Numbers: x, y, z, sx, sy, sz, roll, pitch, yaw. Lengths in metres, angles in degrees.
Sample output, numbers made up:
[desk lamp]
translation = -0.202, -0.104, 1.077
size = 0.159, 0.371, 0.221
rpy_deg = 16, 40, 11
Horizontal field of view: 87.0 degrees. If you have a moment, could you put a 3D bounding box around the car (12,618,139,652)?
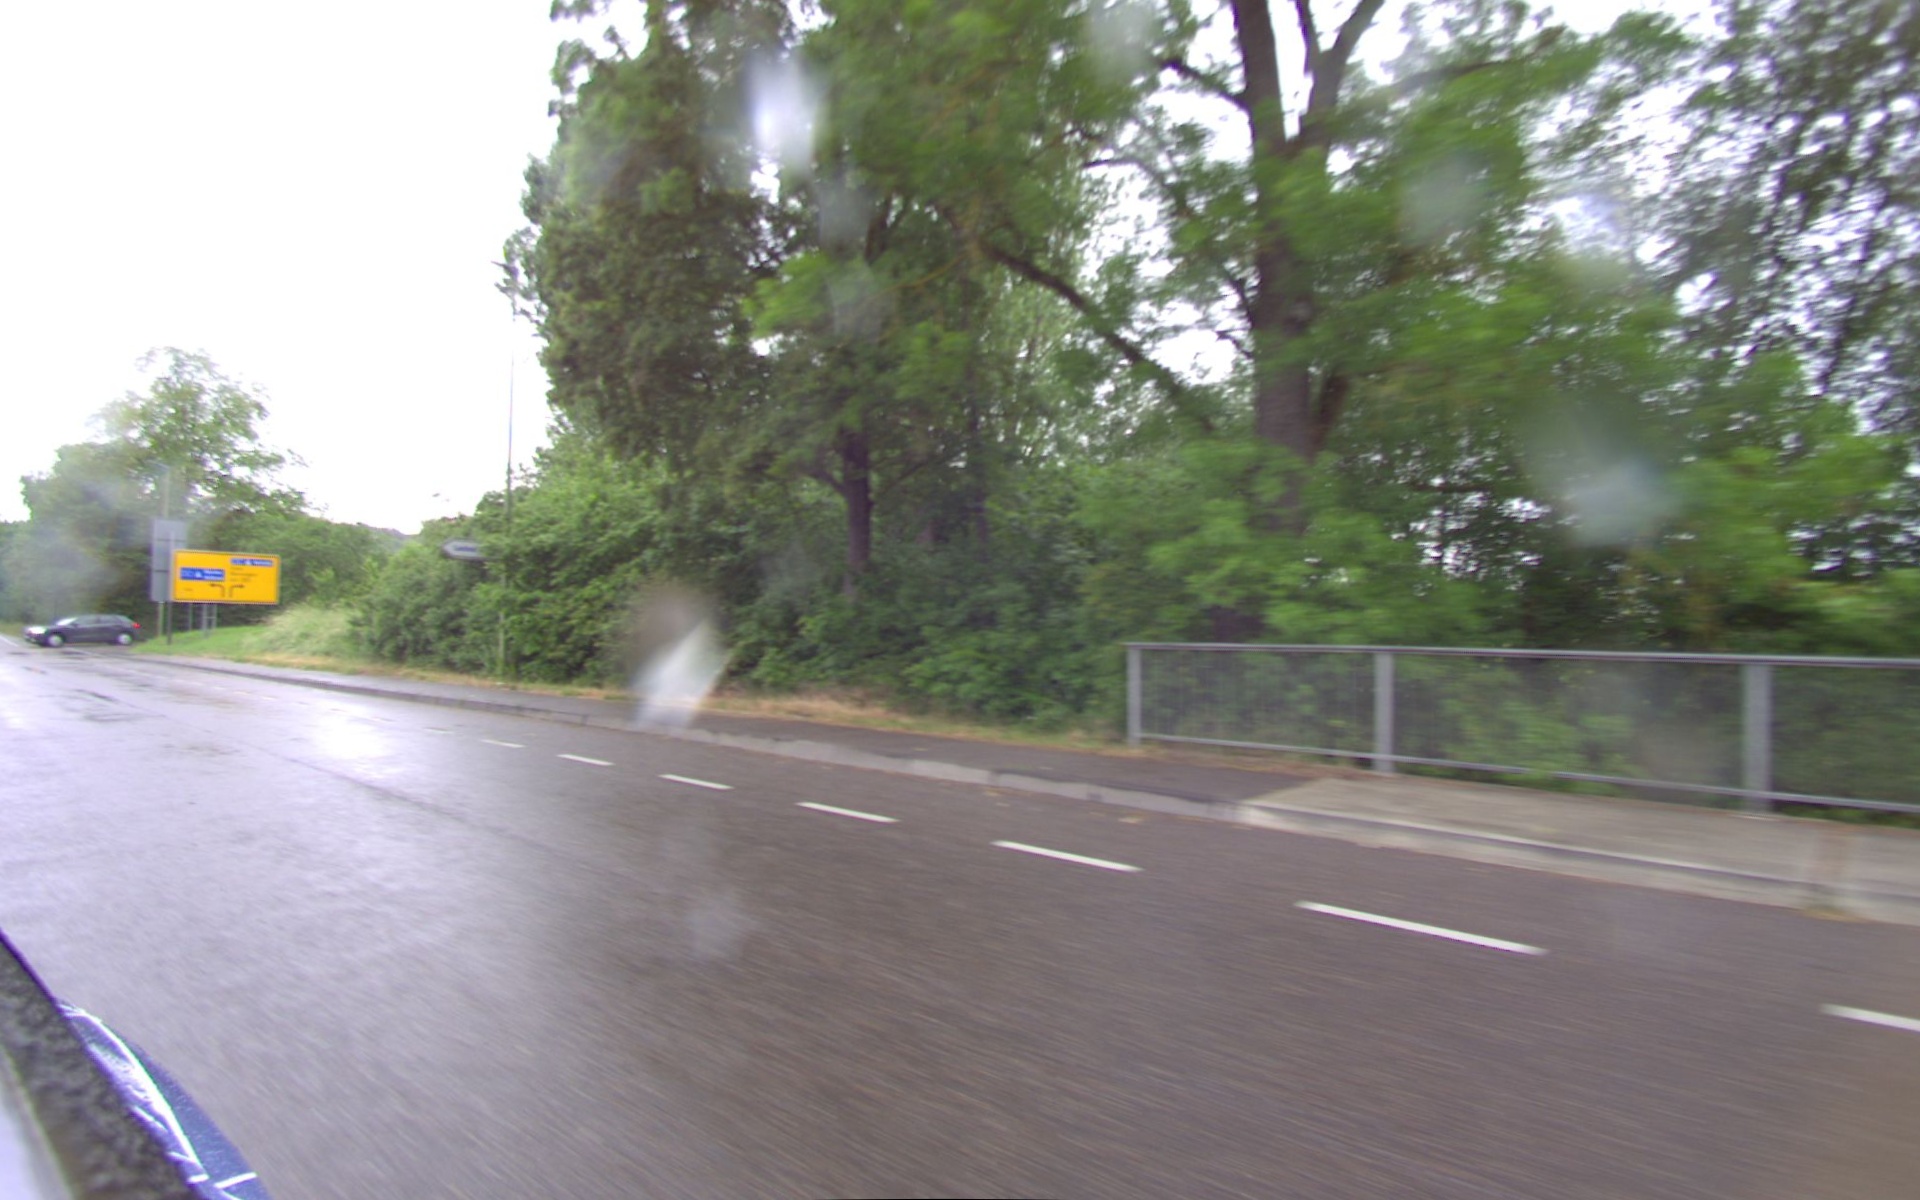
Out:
[car]
translation = -41.124, 1.603, 47.140
size = 1.851, 1.501, 4.075
rpy_deg = -1, -1, 33
